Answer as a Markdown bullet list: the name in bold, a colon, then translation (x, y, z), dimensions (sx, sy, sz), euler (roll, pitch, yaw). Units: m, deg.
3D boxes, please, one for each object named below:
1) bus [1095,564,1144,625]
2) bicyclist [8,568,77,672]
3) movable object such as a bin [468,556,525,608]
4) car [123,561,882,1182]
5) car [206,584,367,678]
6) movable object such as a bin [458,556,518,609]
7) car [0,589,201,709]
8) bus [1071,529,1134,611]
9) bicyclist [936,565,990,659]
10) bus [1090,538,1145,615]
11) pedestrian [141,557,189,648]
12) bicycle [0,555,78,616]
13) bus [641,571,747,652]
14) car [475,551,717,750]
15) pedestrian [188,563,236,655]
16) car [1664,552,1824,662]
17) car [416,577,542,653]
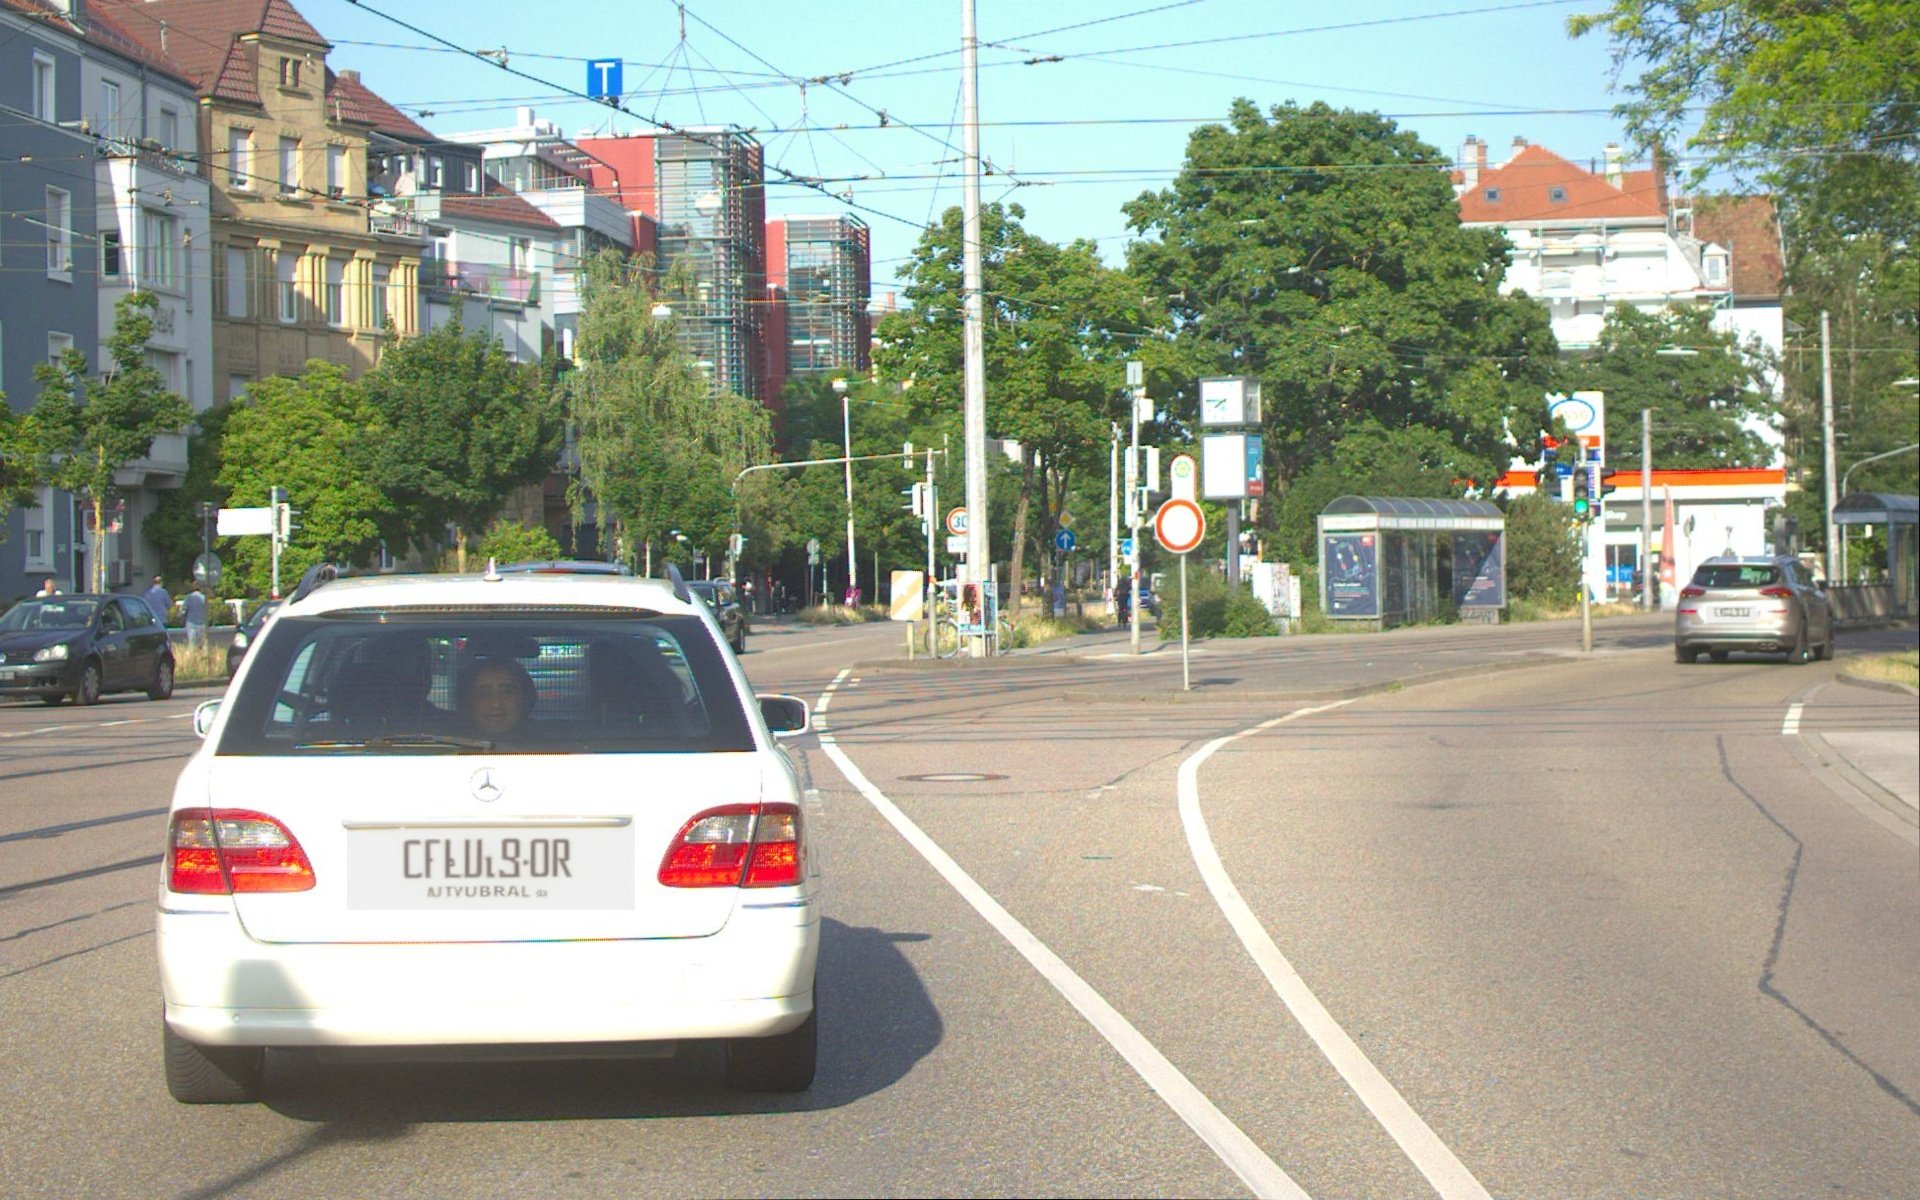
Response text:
- **bus**: translation (6.215, -0.191, 134.470), dimensions (1.798, 2.325, 4.000), euler (1, 0, 2)
- **bicyclist**: translation (-14.916, 0.320, 55.921), dimensions (0.760, 1.662, 1.167), euler (-1, 0, 2)
- **movable object such as a bin**: translation (-12.952, -0.509, 96.168), dimensions (1.533, 1.416, 1.085), euler (-1, 0, -6)
- **car**: translation (-1.474, 0.647, 10.324), dimensions (1.835, 1.496, 3.816), euler (1, 0, -11)
- **car**: translation (-10.981, 0.483, 56.255), dimensions (1.634, 1.428, 3.628), euler (-1, 1, 5)
- **movable object such as a bin**: translation (-13.026, -0.481, 94.901), dimensions (1.602, 1.416, 1.085), euler (-1, 0, -6)
- **car**: translation (-11.519, 0.610, 44.788), dimensions (1.767, 1.428, 3.998), euler (-1, 1, 10)
- **bus**: translation (4.309, -0.883, 104.195), dimensions (1.798, 2.405, 4.000), euler (1, 0, 2)
- **bicyclist**: translation (0.057, 0.217, 63.383), dimensions (0.899, 1.693, 0.732), euler (-2, 0, 1)
- **bus**: translation (5.449, -0.791, 118.866), dimensions (1.798, 2.546, 3.999), euler (1, 0, 3)
- **pedestrian**: translation (-15.392, 0.040, 66.574), dimensions (0.638, 1.745, 0.911), euler (-1, 0, 4)
- **bicycle**: translation (-14.948, -0.242, 55.623), dimensions (0.769, 0.962, 2.034), euler (-1, 1, 2)
- **bus**: translation (-5.626, 0.220, 73.069), dimensions (1.844, 1.630, 4.159), euler (-1, 0, 1)
- **car**: translation (-3.092, 0.396, 29.834), dimensions (1.641, 1.595, 3.815), euler (1, 0, 1)
- **pedestrian**: translation (-14.456, 0.167, 66.471), dimensions (0.638, 1.745, 0.911), euler (-1, 0, 4)
- **car**: translation (11.948, 0.098, 52.248), dimensions (1.837, 1.595, 3.811), euler (1, 0, 21)
- **car**: translation (-9.785, 0.289, 70.228), dimensions (1.689, 1.436, 3.999), euler (-1, 1, 5)
